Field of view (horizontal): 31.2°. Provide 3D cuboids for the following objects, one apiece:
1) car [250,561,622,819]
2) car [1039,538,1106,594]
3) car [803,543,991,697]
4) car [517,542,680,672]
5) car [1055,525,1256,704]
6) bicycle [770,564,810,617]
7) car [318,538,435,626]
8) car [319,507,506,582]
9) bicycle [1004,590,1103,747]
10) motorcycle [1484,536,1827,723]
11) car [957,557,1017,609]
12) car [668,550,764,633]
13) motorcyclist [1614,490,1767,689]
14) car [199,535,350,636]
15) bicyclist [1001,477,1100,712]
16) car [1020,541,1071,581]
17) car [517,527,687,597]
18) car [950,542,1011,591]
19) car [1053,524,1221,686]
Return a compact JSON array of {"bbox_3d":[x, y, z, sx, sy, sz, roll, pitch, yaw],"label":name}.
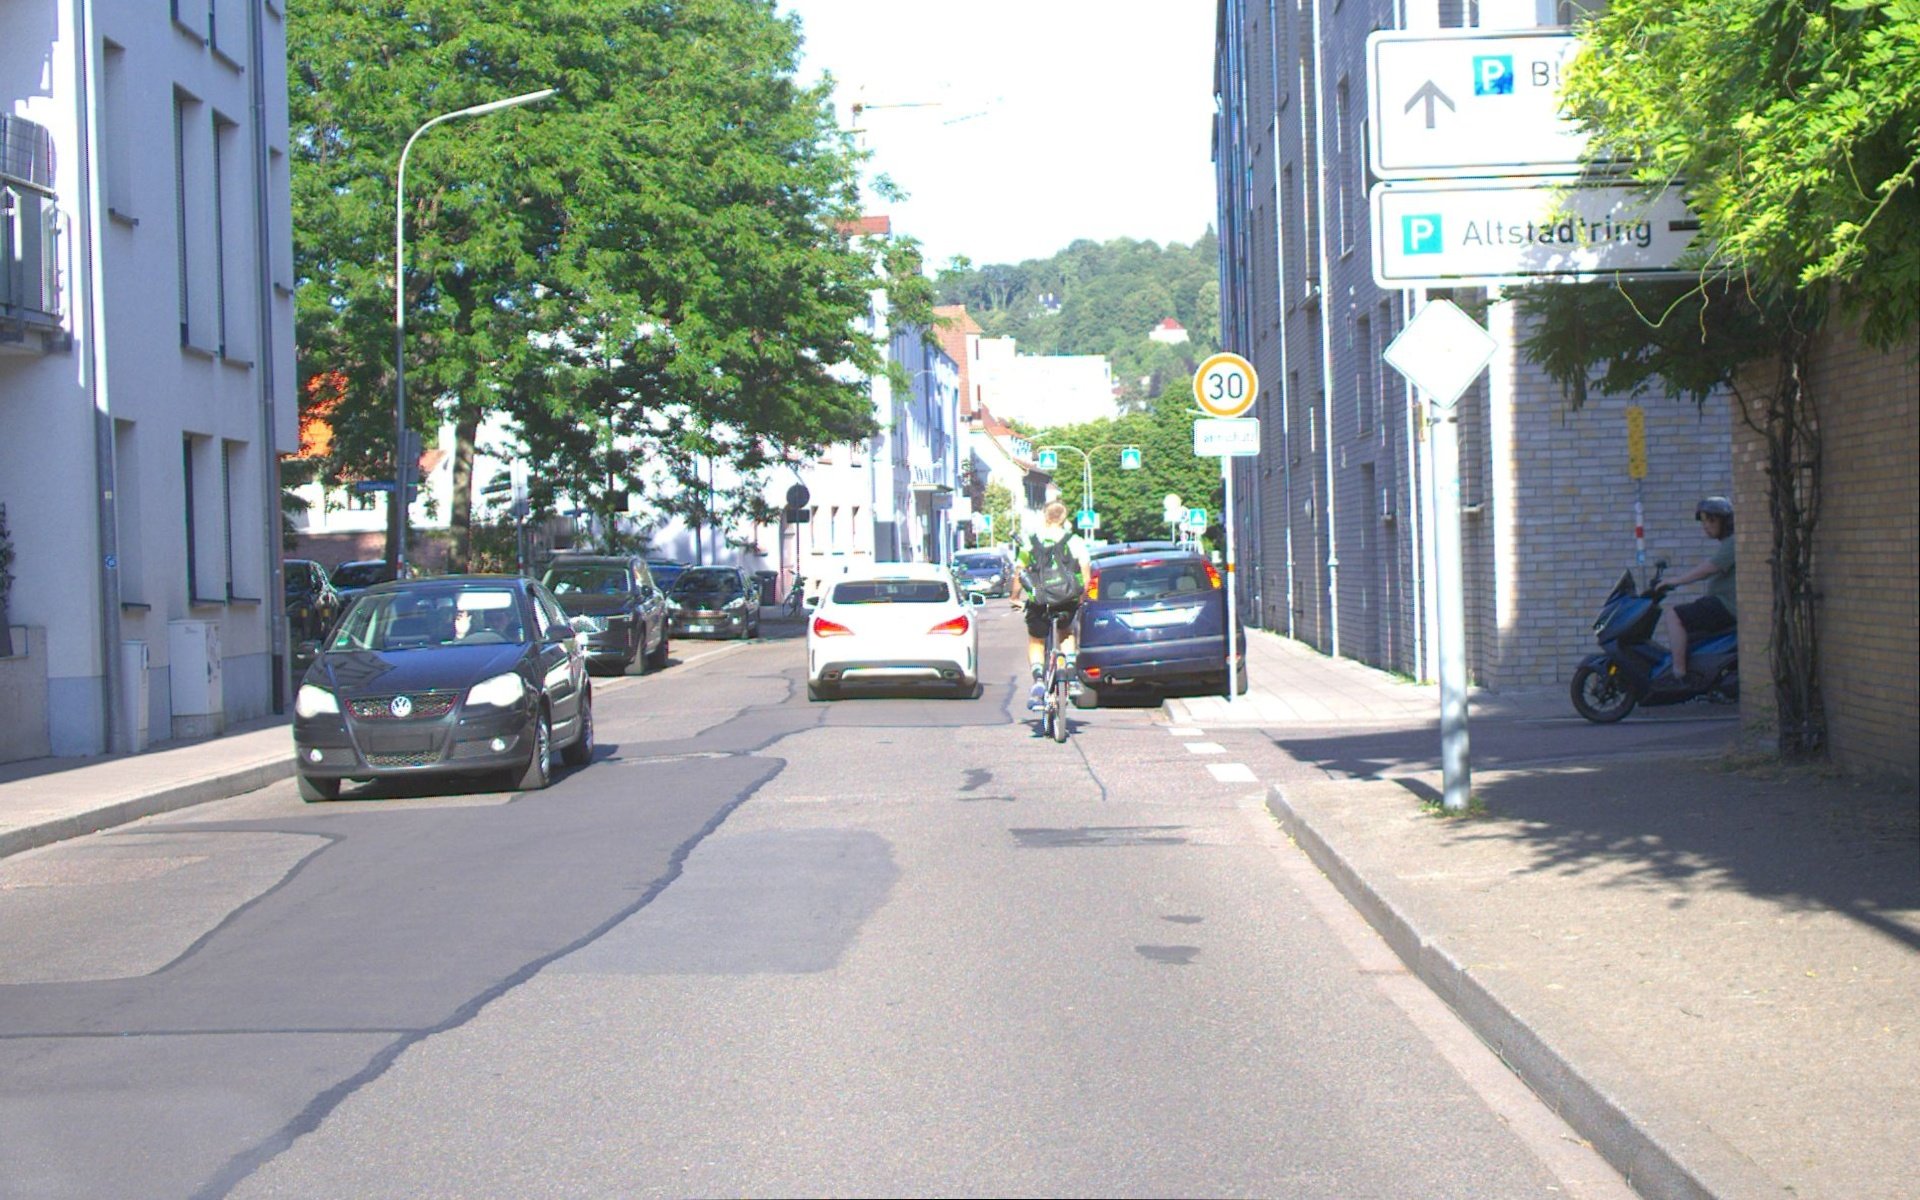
[{"bbox_3d":[-3.544,0.550,23.990,1.842,1.486,4.144,-5,1,0],"label":"car"},{"bbox_3d":[3.804,-1.168,117.076,1.853,1.785,4.608,-2,1,-2],"label":"car"},{"bbox_3d":[-0.684,0.176,36.664,1.842,1.486,4.144,-2,1,-1],"label":"car"},{"bbox_3d":[-5.446,0.064,52.285,1.853,1.785,4.607,-2,1,1],"label":"car"},{"bbox_3d":[1.936,0.105,35.103,1.629,1.581,4.070,-5,1,-1],"label":"car"},{"bbox_3d":[-4.238,-0.251,85.868,0.835,1.213,2.842,-2,1,-1],"label":"bicycle"},{"bbox_3d":[-11.717,-0.388,69.209,1.789,1.684,3.965,0,2,-2],"label":"car"},{"bbox_3d":[-12.605,-1.285,79.260,3.901,1.570,1.709,-2,1,5],"label":"car"},{"bbox_3d":[0.715,0.509,26.932,0.698,1.126,2.403,-2,1,1],"label":"bicycle"},{"bbox_3d":[5.304,0.232,26.251,2.338,1.276,0.894,-4,0,29],"label":"motorcycle"},{"bbox_3d":[0.911,-0.568,113.253,1.664,1.570,3.913,-2,1,4],"label":"car"},{"bbox_3d":[-4.995,-0.200,70.758,1.704,1.570,3.914,-2,1,-1],"label":"car"},{"bbox_3d":[5.552,-0.086,26.114,0.878,1.467,0.894,-2,1,29],"label":"motorcyclist"},{"bbox_3d":[-11.522,-0.276,58.057,1.857,1.581,4.622,0,2,-3],"label":"car"},{"bbox_3d":[0.698,-0.050,26.901,0.698,1.784,1.041,-2,1,1],"label":"bicyclist"},{"bbox_3d":[3.991,-1.817,159.418,1.945,1.581,4.621,-5,1,5],"label":"car"},{"bbox_3d":[-8.831,-0.950,84.996,3.901,1.570,1.710,-2,1,3],"label":"car"},{"bbox_3d":[0.775,-1.261,126.967,1.945,1.581,4.621,-5,1,3],"label":"car"},{"bbox_3d":[1.993,0.015,39.632,1.664,1.696,3.914,-2,1,0],"label":"car"}]
